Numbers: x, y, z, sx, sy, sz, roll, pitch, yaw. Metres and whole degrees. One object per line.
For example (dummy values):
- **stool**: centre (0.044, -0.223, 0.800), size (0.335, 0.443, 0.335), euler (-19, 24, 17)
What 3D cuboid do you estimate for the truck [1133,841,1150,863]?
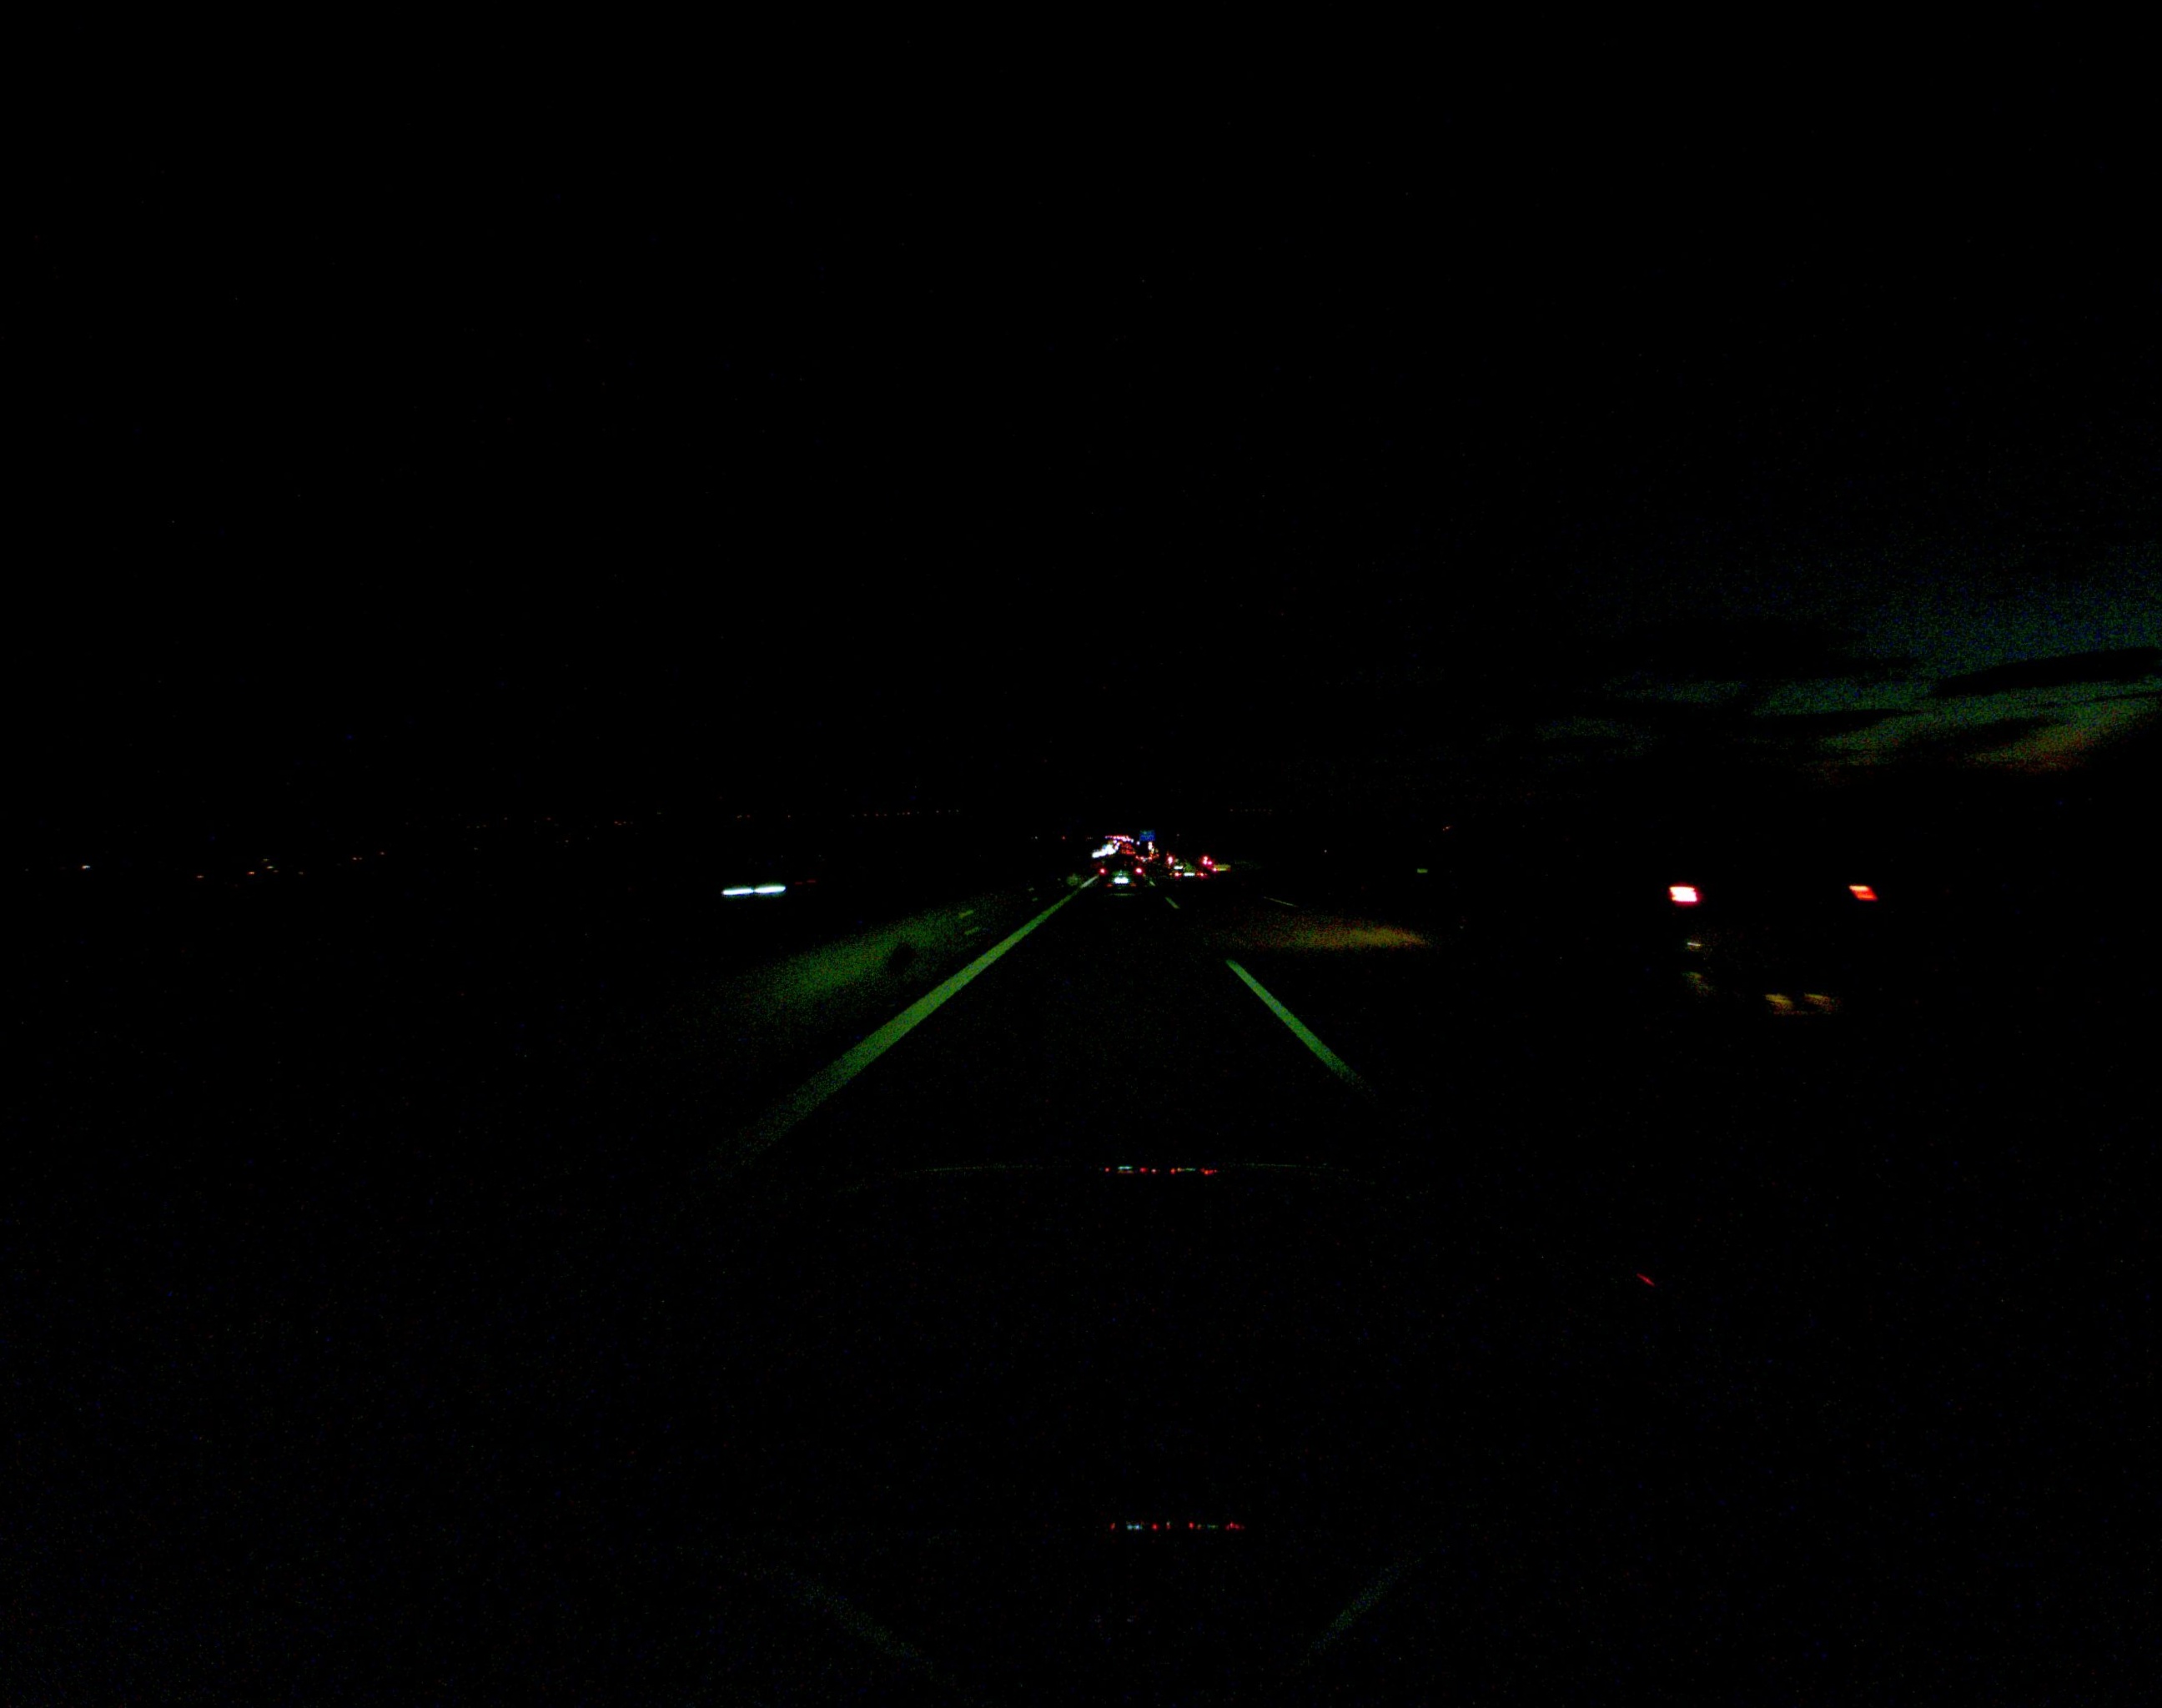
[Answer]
- **truck**: centre (11.703, -0.373, 157.559), size (2.770, 3.955, 7.996), euler (-2, 0, 2)

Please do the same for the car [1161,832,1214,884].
- **car**: centre (5.634, 0.175, 43.776), size (2.341, 2.535, 5.706), euler (-2, 0, 3)

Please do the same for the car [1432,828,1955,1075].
- **car**: centre (5.026, 0.640, 7.654), size (1.639, 1.596, 4.512), euler (-2, 0, 2)

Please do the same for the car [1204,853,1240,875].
- **car**: centre (10.626, 0.709, 61.574), size (2.154, 1.563, 4.727), euler (-1, 0, 3)

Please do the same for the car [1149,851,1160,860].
- **car**: centre (17.275, 0.350, 190.885), size (2.341, 2.075, 4.727), euler (-2, 0, 3)

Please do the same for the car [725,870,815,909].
- **car**: centre (-13.987, 1.547, 36.979), size (1.986, 1.419, 4.984), euler (-4, 0, 1)

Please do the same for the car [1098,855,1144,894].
- **car**: centre (1.697, 0.819, 33.953), size (1.786, 1.469, 3.776), euler (-1, 0, 3)

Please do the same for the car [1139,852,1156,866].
- **car**: centre (9.769, 0.774, 120.717), size (2.341, 1.914, 4.727), euler (-2, 0, 3)

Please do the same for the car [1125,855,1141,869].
- **car**: centre (6.269, 0.949, 98.425), size (1.737, 1.440, 4.371), euler (-2, 0, 3)

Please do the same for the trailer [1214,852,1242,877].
- **trailer**: centre (10.430, 0.708, 57.947), size (1.560, 1.693, 2.823), euler (-2, 0, 2)
